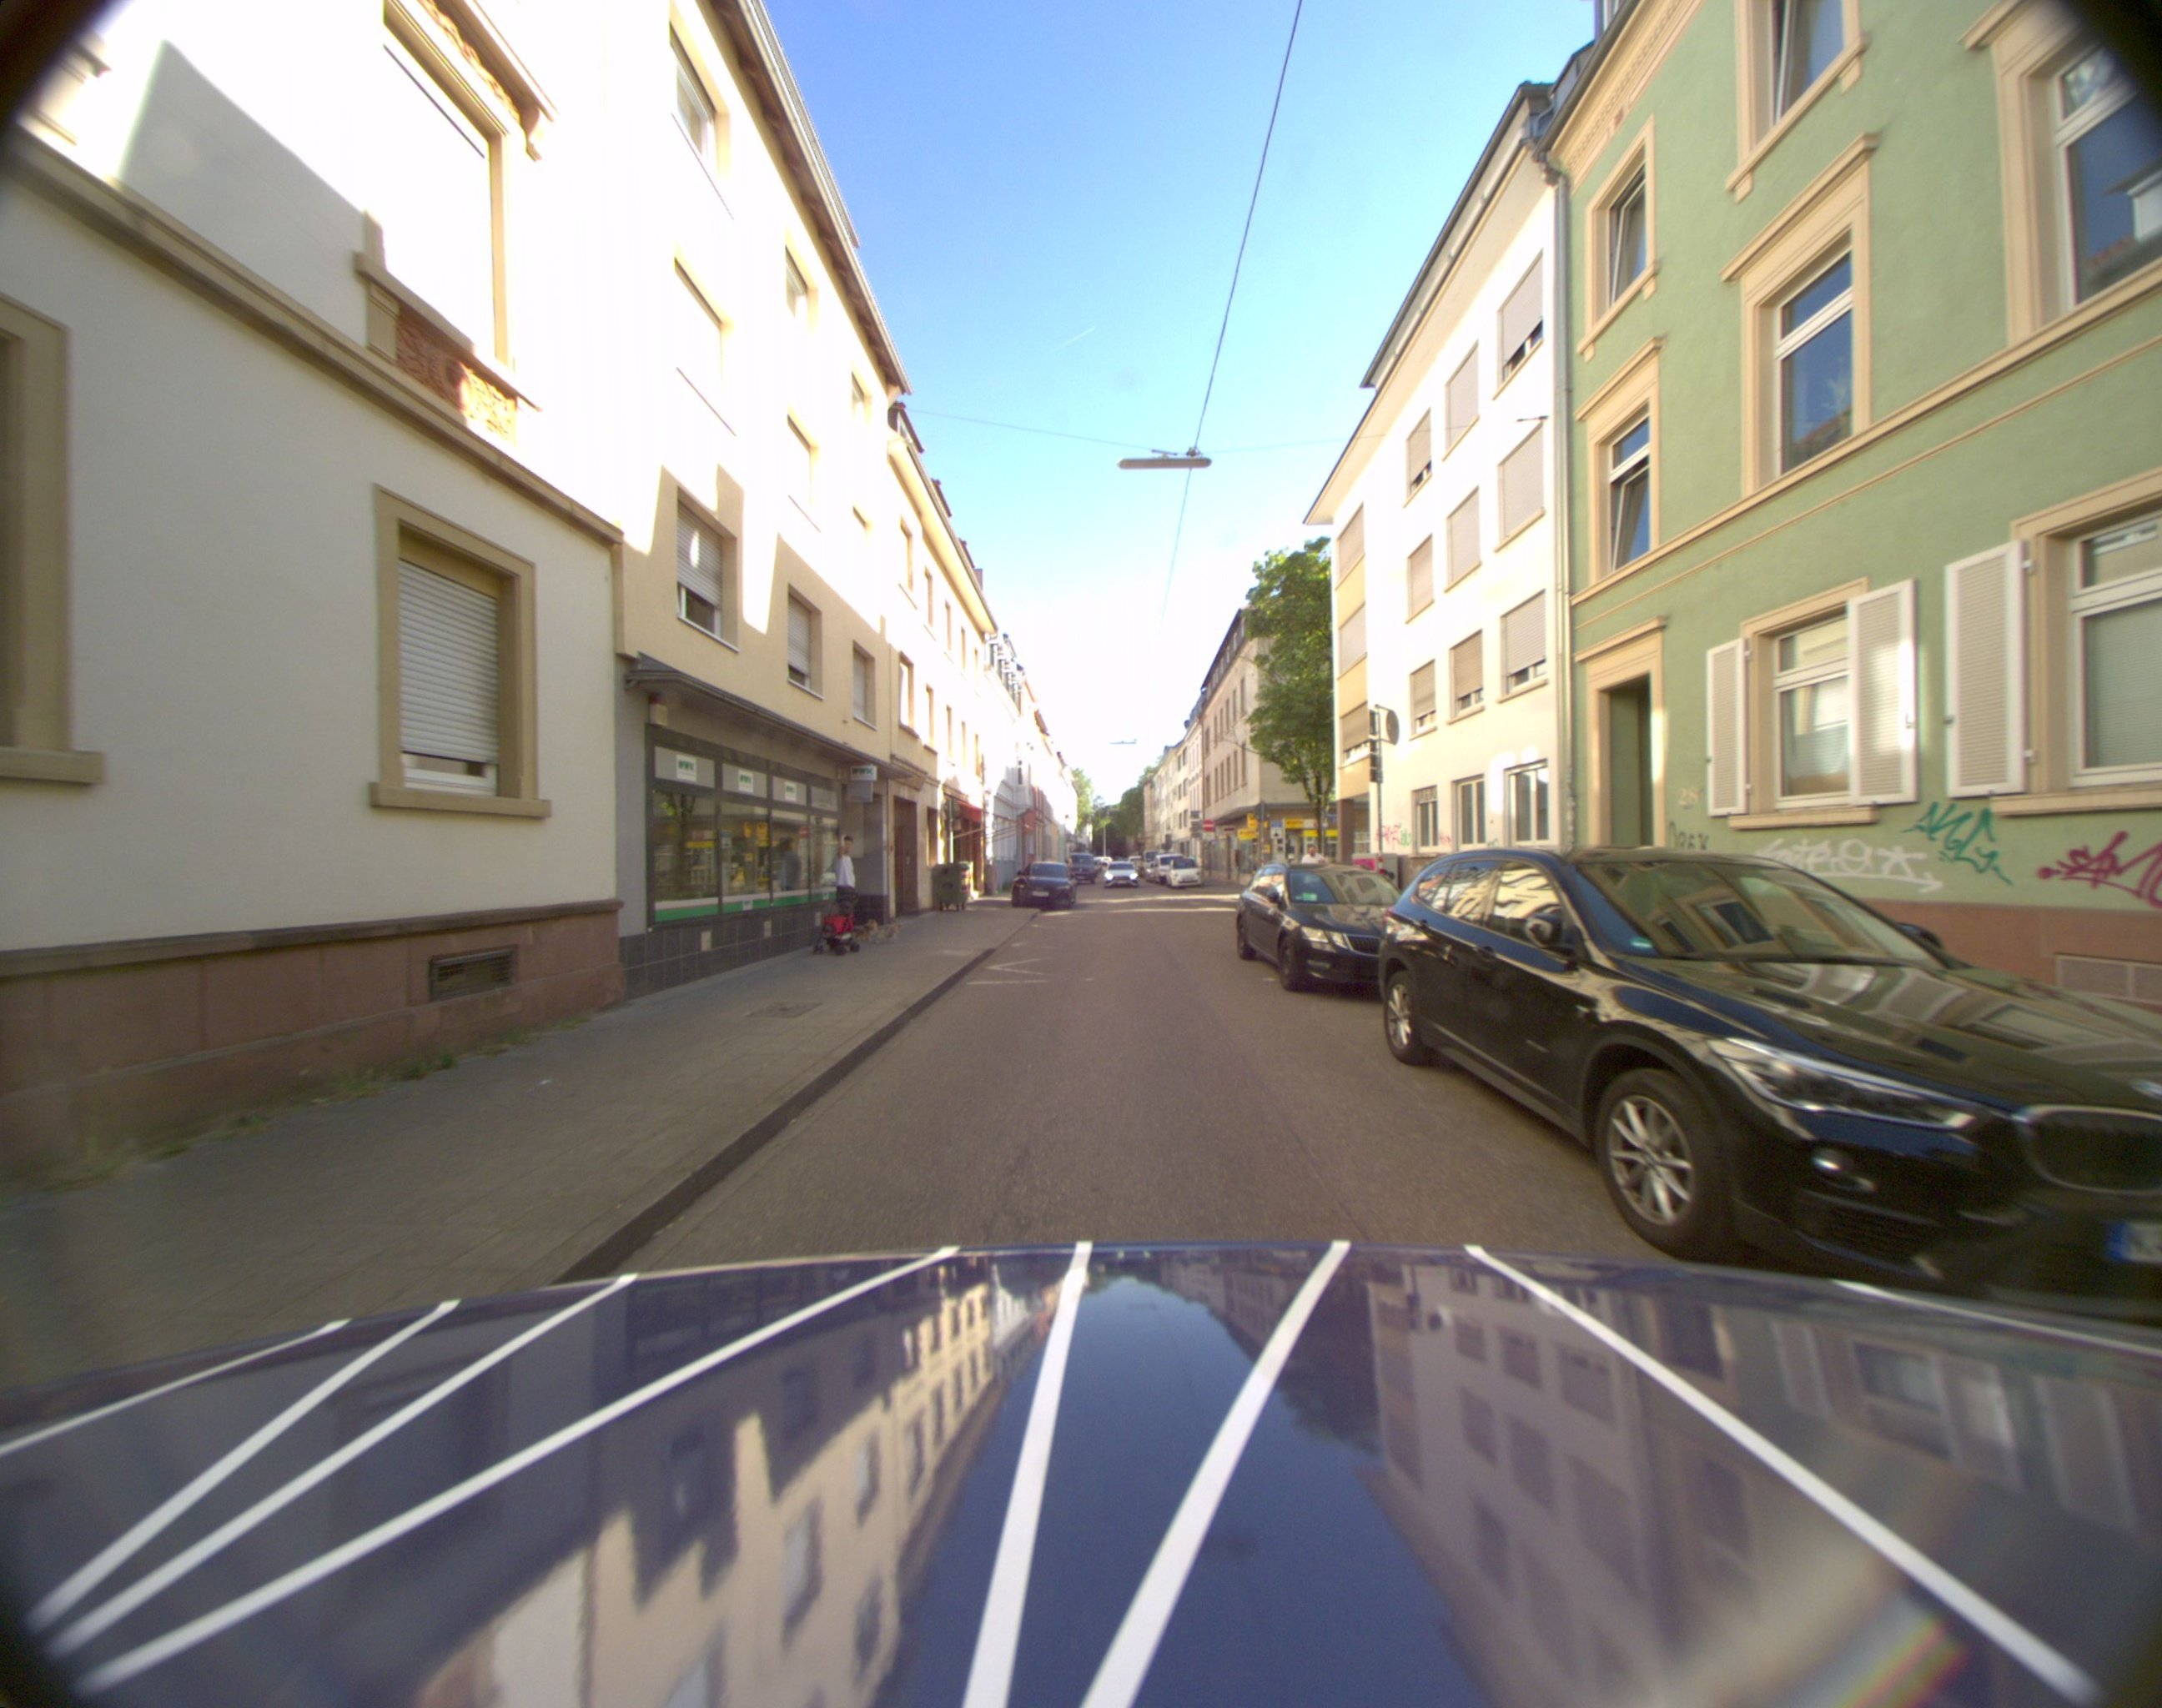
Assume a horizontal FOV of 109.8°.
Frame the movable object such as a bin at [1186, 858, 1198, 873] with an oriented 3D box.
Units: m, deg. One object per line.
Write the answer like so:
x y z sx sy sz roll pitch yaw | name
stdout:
8.853 0.943 60.599 0.759 1.184 0.686 -1 1 -2 | movable object such as a bin

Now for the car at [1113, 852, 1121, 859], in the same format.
8.972 0.369 189.870 1.985 1.674 4.022 -1 1 2 | car

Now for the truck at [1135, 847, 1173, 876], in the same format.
5.996 0.569 62.946 2.171 2.295 6.345 1 1 -4 | truck

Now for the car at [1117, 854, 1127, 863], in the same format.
8.064 0.912 150.178 1.786 1.674 4.022 -1 1 2 | car

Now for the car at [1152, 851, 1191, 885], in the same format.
5.374 0.790 45.588 1.771 1.887 4.809 1 0 1 | car

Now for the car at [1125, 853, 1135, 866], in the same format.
7.776 0.900 120.521 1.585 1.971 4.068 -1 1 2 | car

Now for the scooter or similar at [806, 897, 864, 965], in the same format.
-3.729 1.152 11.575 0.491 0.939 0.869 1 0 9 | scooter or similar

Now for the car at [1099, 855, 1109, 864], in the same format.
4.396 1.113 144.036 1.856 1.620 4.073 -1 1 2 | car

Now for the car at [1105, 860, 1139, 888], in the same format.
2.246 1.051 41.751 1.761 1.399 4.022 -1 1 2 | car

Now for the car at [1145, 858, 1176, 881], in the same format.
5.338 1.025 51.596 1.669 1.514 4.489 1 0 1 | car

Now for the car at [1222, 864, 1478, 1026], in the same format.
3.127 0.941 10.014 1.718 1.480 4.852 2 0 1 | car

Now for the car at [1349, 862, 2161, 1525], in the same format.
3.053 0.865 4.152 1.748 1.605 4.604 0 0 3 | car

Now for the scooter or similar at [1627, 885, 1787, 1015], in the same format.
6.678 0.970 8.214 0.455 1.175 1.691 -1 1 5 | scooter or similar

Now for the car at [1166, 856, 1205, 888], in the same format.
5.353 0.910 39.367 1.671 1.551 3.723 -1 0 3 | car

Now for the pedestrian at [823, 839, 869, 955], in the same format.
-3.892 0.694 12.542 0.651 1.849 0.747 1 0 -20 | pedestrian

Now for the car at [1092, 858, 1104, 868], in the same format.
2.520 1.272 111.618 1.588 1.409 3.558 -1 1 2 | car

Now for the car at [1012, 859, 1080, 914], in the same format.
-1.060 0.990 25.317 1.805 1.570 4.897 -2 0 2 | car

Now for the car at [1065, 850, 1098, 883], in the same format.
0.071 0.809 50.250 1.974 2.017 4.899 -2 0 1 | car

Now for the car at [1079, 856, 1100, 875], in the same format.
0.773 0.980 67.912 1.744 1.534 4.051 -1 1 2 | car

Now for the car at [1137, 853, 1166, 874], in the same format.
6.552 0.841 71.228 1.918 1.871 5.184 1 0 -3 | car

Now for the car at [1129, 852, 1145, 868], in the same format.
7.376 0.749 100.824 1.913 2.076 4.697 -1 0 2 | car

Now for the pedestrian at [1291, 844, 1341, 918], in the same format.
6.009 0.662 19.497 0.913 1.822 1.245 -1 1 2 | pedestrian

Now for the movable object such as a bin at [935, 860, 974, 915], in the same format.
-3.514 0.912 21.195 0.748 1.428 1.372 2 1 4 | movable object such as a bin

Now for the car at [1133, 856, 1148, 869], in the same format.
7.341 1.017 94.315 1.730 1.483 4.116 -2 0 4 | car
